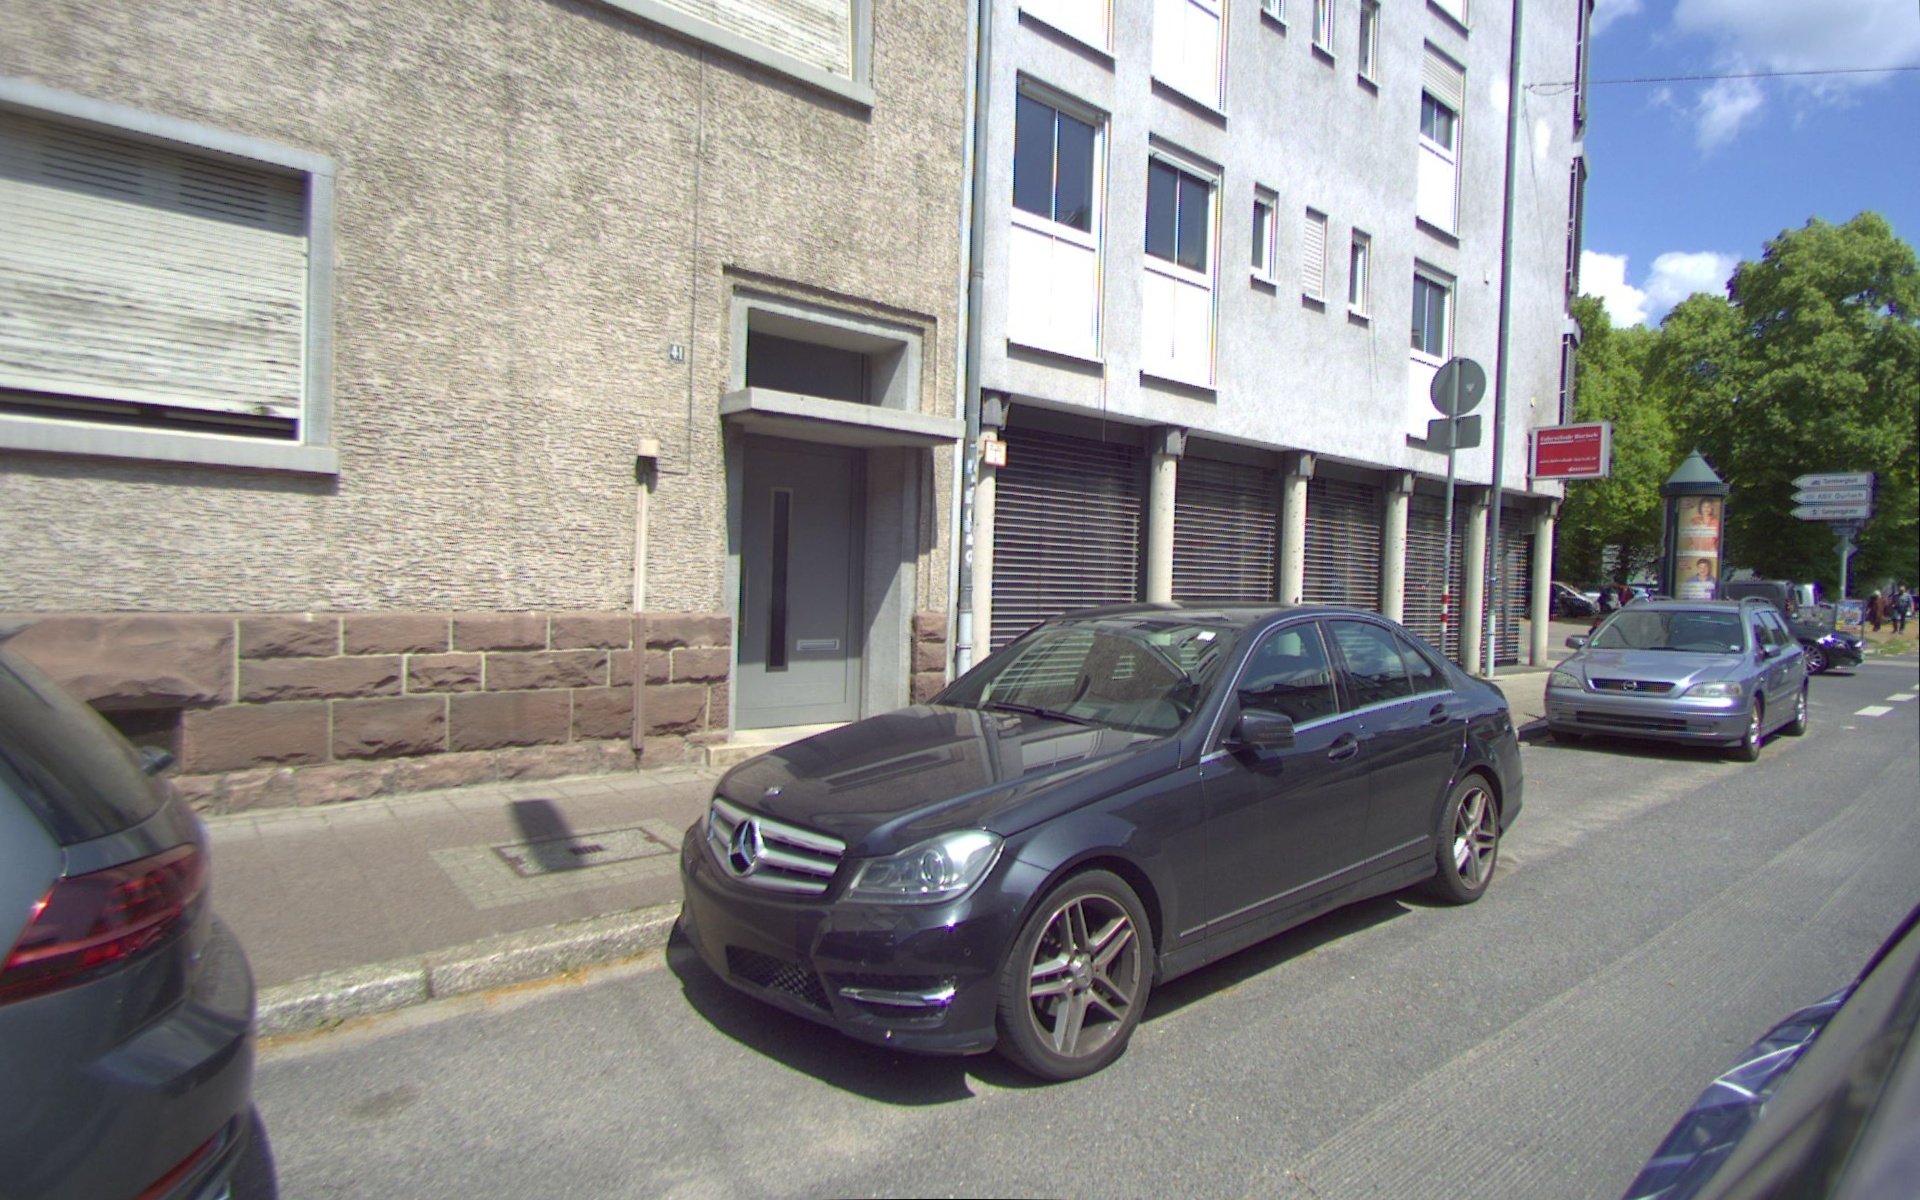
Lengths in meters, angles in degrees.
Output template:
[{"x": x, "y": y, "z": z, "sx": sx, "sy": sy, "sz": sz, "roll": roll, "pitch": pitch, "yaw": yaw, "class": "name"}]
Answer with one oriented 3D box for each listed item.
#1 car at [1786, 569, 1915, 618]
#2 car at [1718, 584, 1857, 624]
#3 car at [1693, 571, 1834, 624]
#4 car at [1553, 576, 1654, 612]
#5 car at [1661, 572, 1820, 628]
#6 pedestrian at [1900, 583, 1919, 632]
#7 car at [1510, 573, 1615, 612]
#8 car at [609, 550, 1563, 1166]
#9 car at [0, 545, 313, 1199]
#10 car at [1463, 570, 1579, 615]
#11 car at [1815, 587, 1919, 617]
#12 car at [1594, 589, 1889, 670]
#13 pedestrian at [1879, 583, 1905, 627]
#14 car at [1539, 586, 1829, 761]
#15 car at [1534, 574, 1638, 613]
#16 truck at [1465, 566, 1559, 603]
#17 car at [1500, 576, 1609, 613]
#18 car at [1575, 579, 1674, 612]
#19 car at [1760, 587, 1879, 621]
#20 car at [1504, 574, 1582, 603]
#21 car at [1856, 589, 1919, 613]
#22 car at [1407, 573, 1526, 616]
[{"x": 44.466, "y": -0.341, "z": 50.624, "sx": 2.069, "sy": 2.305, "sz": 4.611, "roll": 0, "pitch": 0, "yaw": -40, "class": "car"}, {"x": 32.282, "y": 0.104, "z": 39.573, "sx": 1.777, "sy": 1.415, "sz": 3.993, "roll": 0, "pitch": 2, "yaw": -42, "class": "car"}, {"x": 28.705, "y": -0.124, "z": 36.227, "sx": 1.637, "sy": 1.687, "sz": 3.766, "roll": 0, "pitch": 3, "yaw": -45, "class": "car"}, {"x": 33.220, "y": -0.326, "z": 52.347, "sx": 1.772, "sy": 1.605, "sz": 3.998, "roll": 0, "pitch": 3, "yaw": -39, "class": "car"}, {"x": 26.647, "y": -0.047, "z": 34.631, "sx": 1.982, "sy": 1.772, "sz": 3.994, "roll": 0, "pitch": 2, "yaw": -41, "class": "car"}, {"x": 35.245, "y": 0.269, "z": 37.429, "sx": 0.724, "sy": 1.786, "sz": 0.618, "roll": 0, "pitch": 1, "yaw": -41, "class": "pedestrian"}, {"x": 29.151, "y": -0.418, "z": 49.051, "sx": 1.652, "sy": 1.660, "sz": 3.994, "roll": -1, "pitch": 4, "yaw": -42, "class": "car"}, {"x": 0.907, "y": 0.597, "z": 4.530, "sx": 4.359, "sy": 1.491, "sz": 1.715, "roll": 0, "pitch": 2, "yaw": -40, "class": "car"}, {"x": -3.122, "y": 0.615, "z": 0.981, "sx": 3.980, "sy": 1.437, "sz": 1.653, "roll": 0, "pitch": 2, "yaw": -43, "class": "car"}, {"x": 24.085, "y": -0.348, "z": 43.516, "sx": 1.673, "sy": 1.699, "sz": 3.992, "roll": -1, "pitch": 4, "yaw": -44, "class": "car"}, {"x": 47.451, "y": 0.081, "z": 52.669, "sx": 1.778, "sy": 1.512, "sz": 4.331, "roll": 0, "pitch": 0, "yaw": -42, "class": "car"}, {"x": 16.104, "y": 0.526, "z": 21.046, "sx": 1.966, "sy": 1.382, "sz": 4.588, "roll": 0, "pitch": 2, "yaw": -42, "class": "car"}, {"x": 34.870, "y": 0.183, "z": 37.863, "sx": 0.724, "sy": 1.613, "sz": 0.618, "roll": 0, "pitch": 1, "yaw": -41, "class": "pedestrian"}, {"x": 7.667, "y": 0.604, "z": 10.562, "sx": 4.072, "sy": 1.472, "sz": 1.679, "roll": 0, "pitch": 1, "yaw": -43, "class": "car"}, {"x": 31.200, "y": -0.362, "z": 50.546, "sx": 1.772, "sy": 1.682, "sz": 3.998, "roll": 0, "pitch": 3, "yaw": -39, "class": "car"}, {"x": 30.414, "y": -0.889, "z": 55.892, "sx": 1.844, "sy": 1.836, "sz": 4.133, "roll": 0, "pitch": 3, "yaw": -38, "class": "truck"}, {"x": 27.530, "y": -0.286, "z": 46.960, "sx": 1.652, "sy": 1.501, "sz": 3.994, "roll": -1, "pitch": 4, "yaw": -42, "class": "car"}, {"x": 35.137, "y": -0.271, "z": 53.604, "sx": 1.772, "sy": 1.491, "sz": 3.998, "roll": 0, "pitch": 3, "yaw": -39, "class": "car"}, {"x": 39.697, "y": 0.165, "z": 46.818, "sx": 1.686, "sy": 1.491, "sz": 3.996, "roll": 0, "pitch": 1, "yaw": -39, "class": "car"}, {"x": 36.033, "y": -0.740, "z": 62.622, "sx": 1.706, "sy": 1.607, "sz": 3.809, "roll": 0, "pitch": 3, "yaw": -38, "class": "car"}, {"x": 57.344, "y": 0.074, "z": 61.850, "sx": 3.833, "sy": 1.375, "sz": 1.606, "roll": 2, "pitch": 2, "yaw": 41, "class": "car"}, {"x": 20.793, "y": -0.275, "z": 41.659, "sx": 1.652, "sy": 1.547, "sz": 3.994, "roll": -1, "pitch": 4, "yaw": -42, "class": "car"}]
